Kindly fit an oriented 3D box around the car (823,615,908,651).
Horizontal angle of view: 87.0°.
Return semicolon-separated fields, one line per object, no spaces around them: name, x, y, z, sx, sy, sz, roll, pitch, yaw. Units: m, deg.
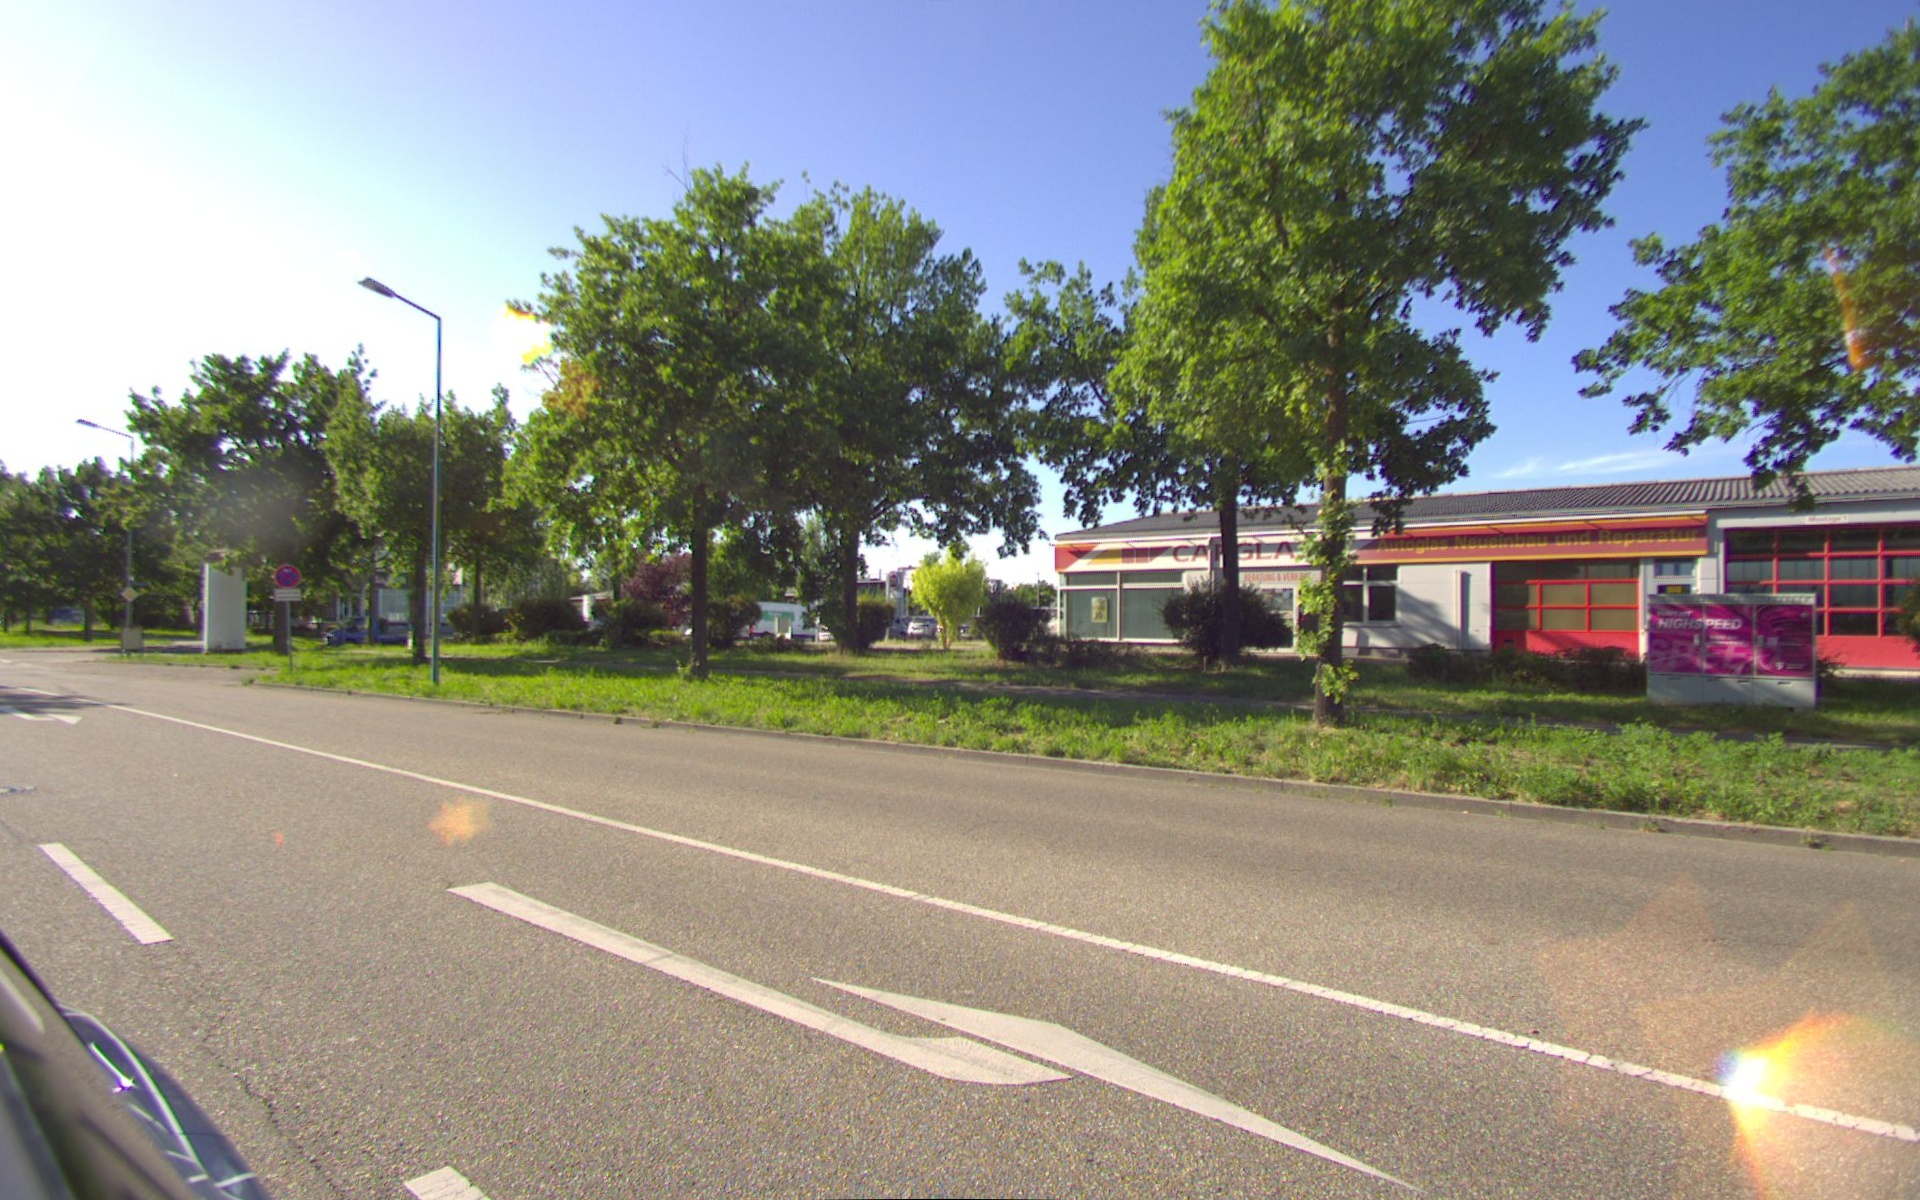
car;-5.149;1.760;55.792;1.989;1.795;4.583;-1;0;40

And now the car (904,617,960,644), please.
car;-1.875;2.041;68.626;1.761;1.684;3.811;-1;0;40

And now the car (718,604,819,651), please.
car;-11.456;1.591;61.003;2.406;2.574;5.952;-1;0;36

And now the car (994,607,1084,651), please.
car;3.210;1.148;40.607;1.734;1.583;3.769;-3;-1;40

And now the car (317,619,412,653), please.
car;-35.974;2.153;61.236;1.999;1.847;4.578;-1;0;41
